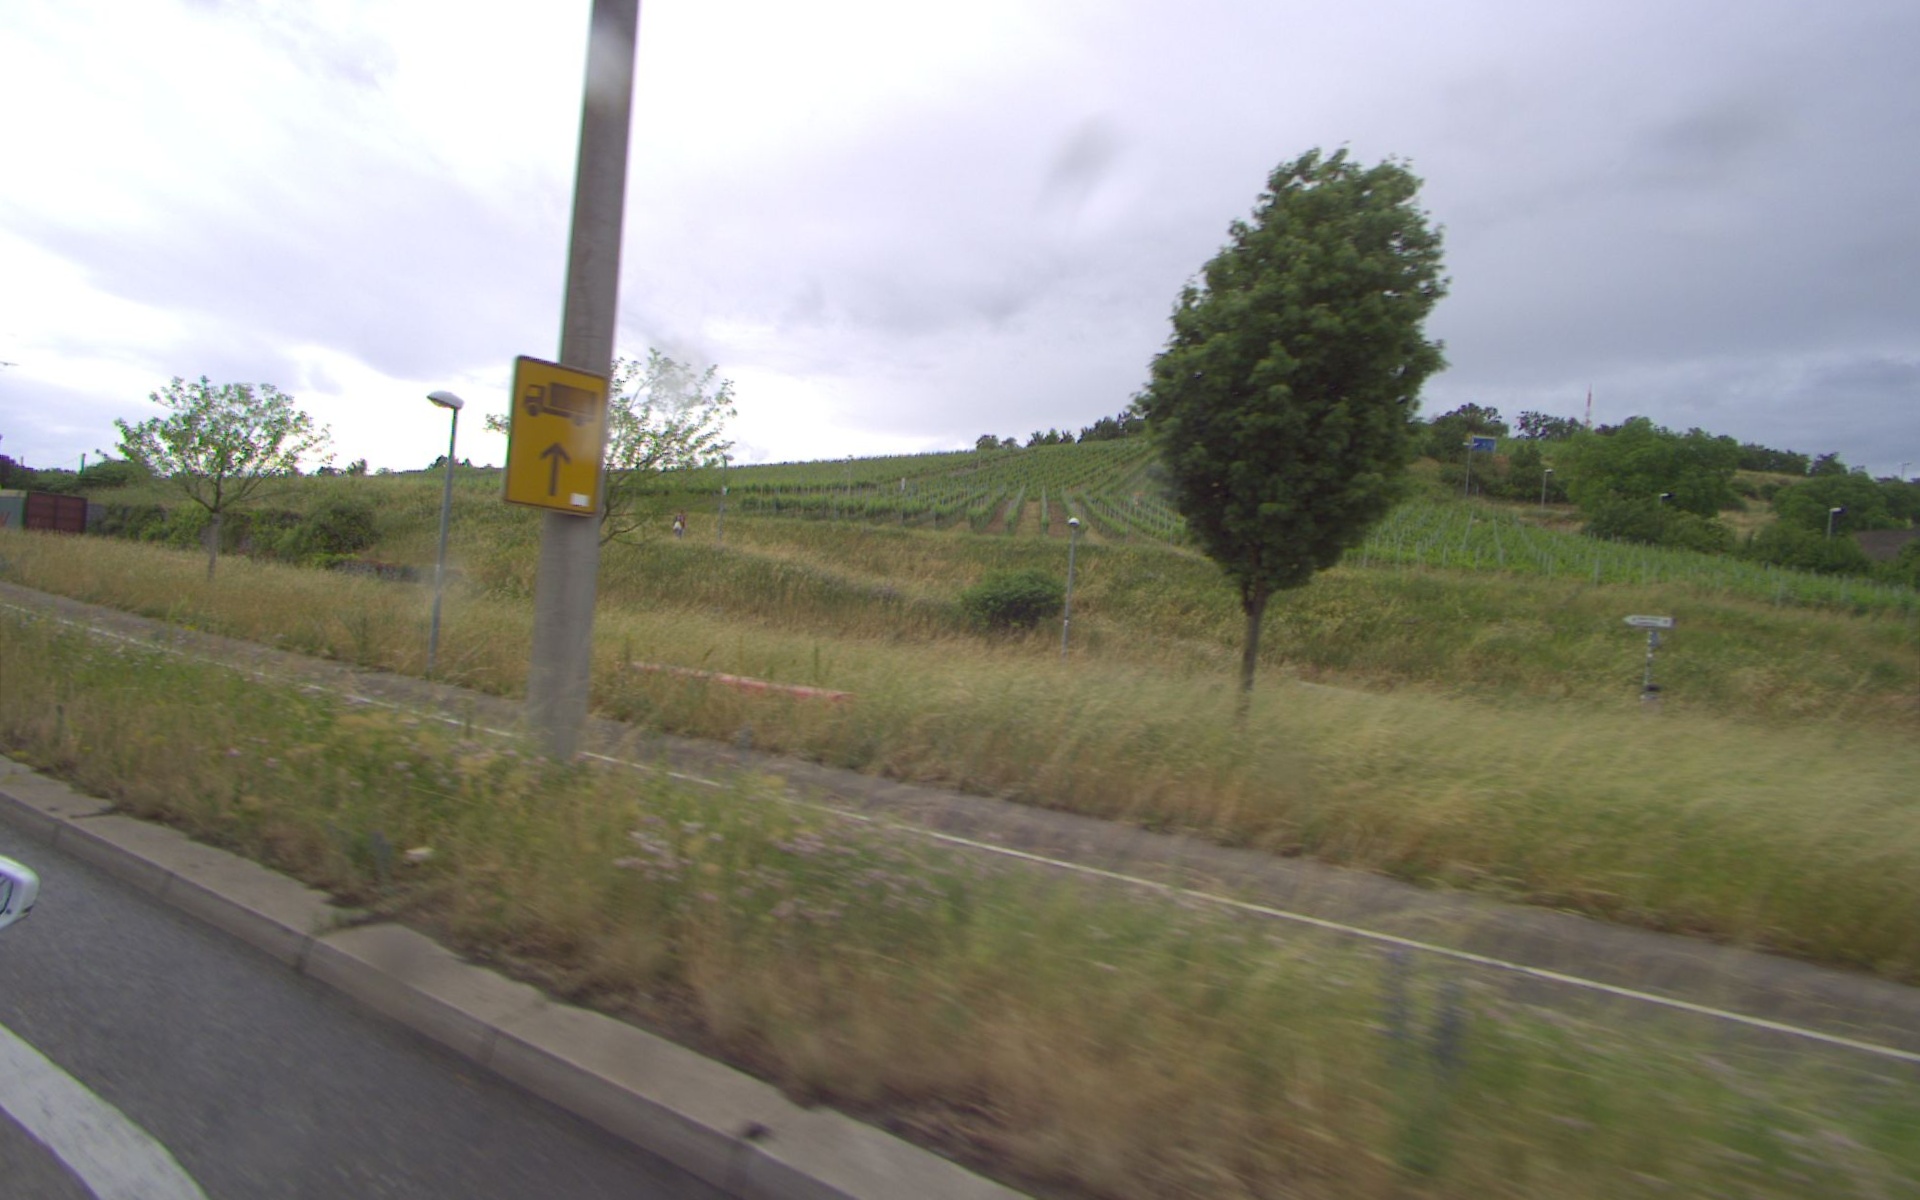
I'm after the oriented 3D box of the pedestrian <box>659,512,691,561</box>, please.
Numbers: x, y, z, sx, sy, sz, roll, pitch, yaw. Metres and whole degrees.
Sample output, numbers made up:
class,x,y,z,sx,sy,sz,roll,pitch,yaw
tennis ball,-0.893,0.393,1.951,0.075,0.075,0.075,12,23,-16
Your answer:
class,x,y,z,sx,sy,sz,roll,pitch,yaw
pedestrian,-12.598,-2.807,44.548,1.036,2.040,0.780,6,3,-5
